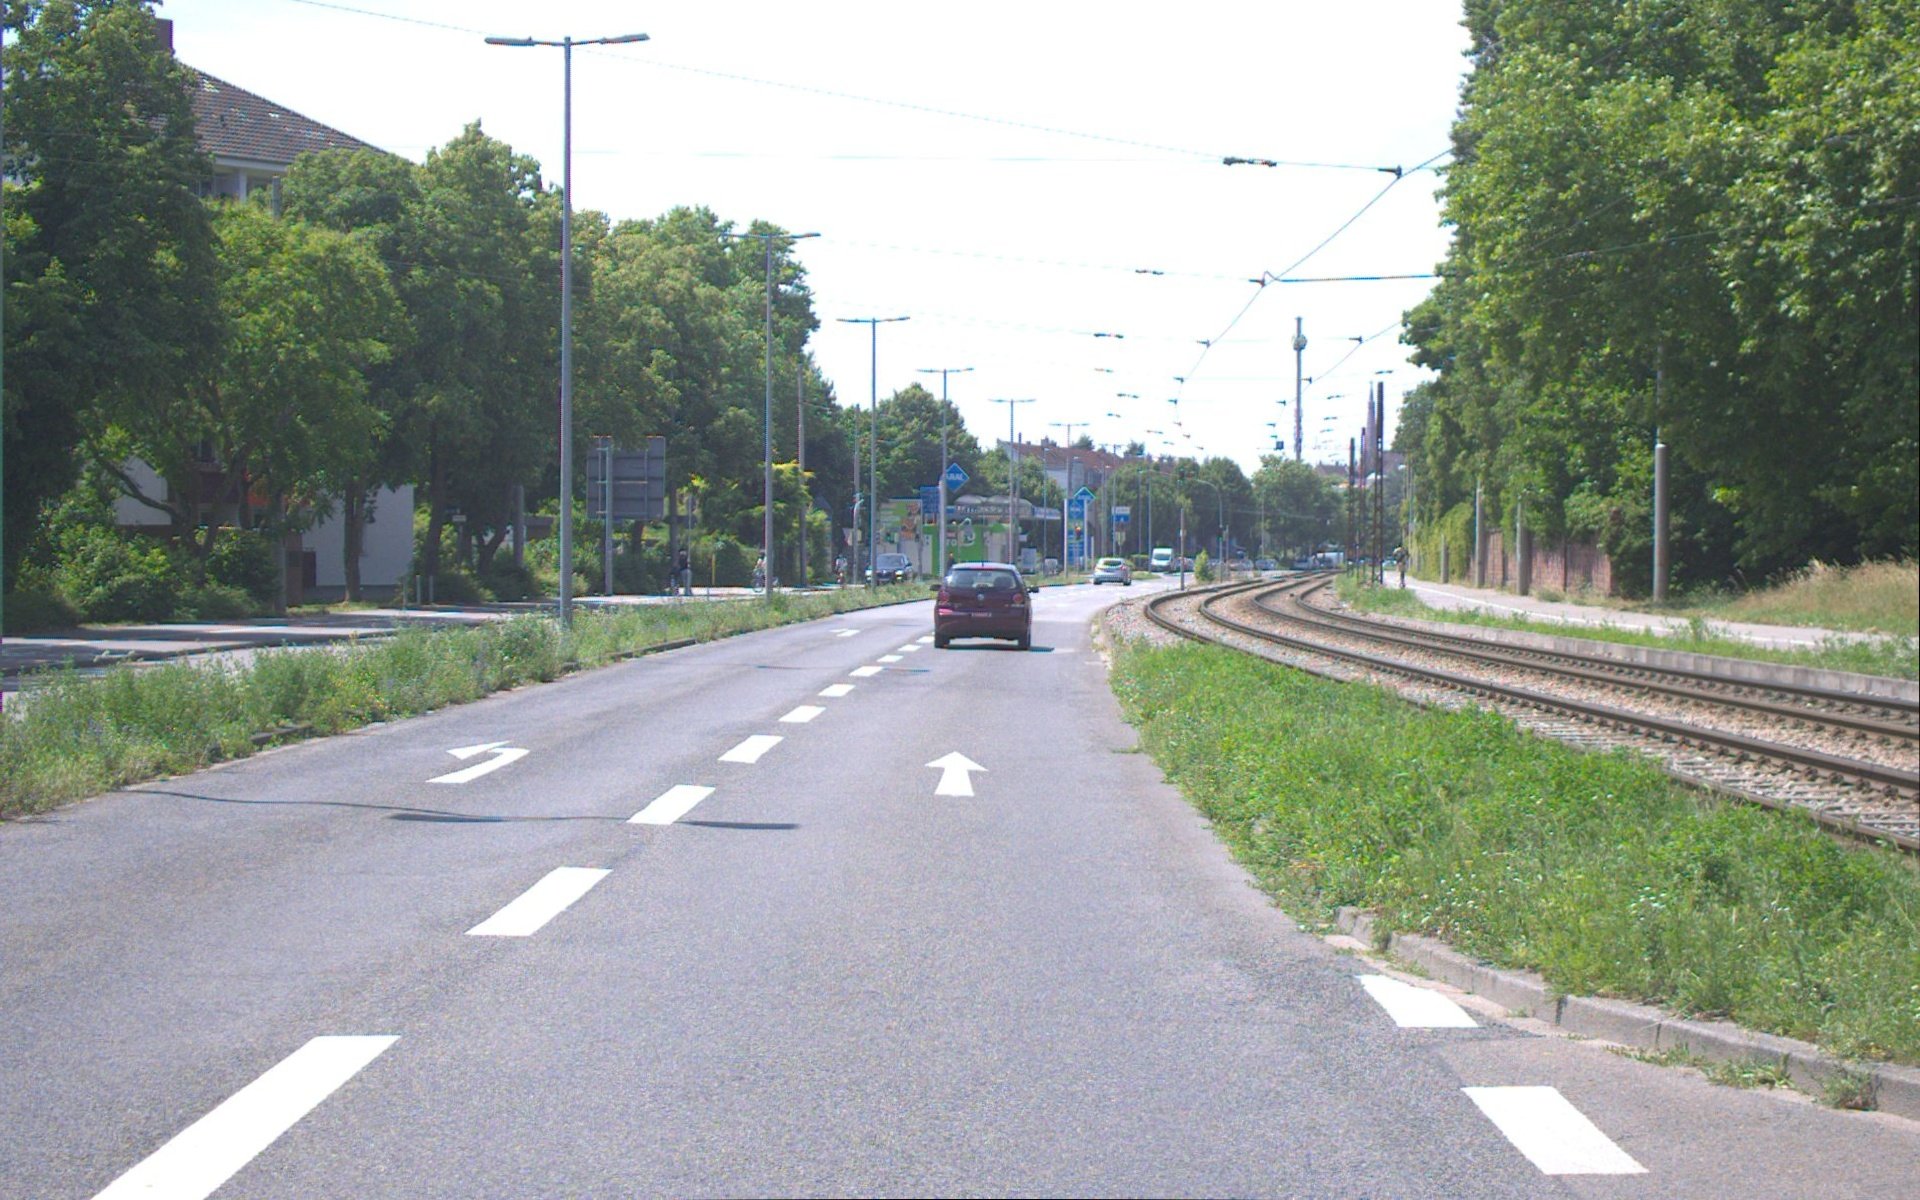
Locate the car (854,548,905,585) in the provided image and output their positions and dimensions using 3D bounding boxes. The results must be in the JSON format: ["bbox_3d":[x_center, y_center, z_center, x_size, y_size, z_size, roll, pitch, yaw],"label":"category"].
[{"bbox_3d":[-3.645,-1.511,156.331,1.923,1.620,4.756,-1,0,3],"label":"car"}]

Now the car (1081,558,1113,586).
[{"bbox_3d":[7.407,-1.543,186.251,1.703,1.475,3.716,1,1,2],"label":"car"}]

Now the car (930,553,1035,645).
[{"bbox_3d":[0.374,-0.012,59.327,1.703,1.472,3.716,2,0,0],"label":"car"}]

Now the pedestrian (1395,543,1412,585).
[{"bbox_3d":[18.115,-1.469,140.543,0.662,1.720,0.816,0,1,6],"label":"pedestrian"}]
